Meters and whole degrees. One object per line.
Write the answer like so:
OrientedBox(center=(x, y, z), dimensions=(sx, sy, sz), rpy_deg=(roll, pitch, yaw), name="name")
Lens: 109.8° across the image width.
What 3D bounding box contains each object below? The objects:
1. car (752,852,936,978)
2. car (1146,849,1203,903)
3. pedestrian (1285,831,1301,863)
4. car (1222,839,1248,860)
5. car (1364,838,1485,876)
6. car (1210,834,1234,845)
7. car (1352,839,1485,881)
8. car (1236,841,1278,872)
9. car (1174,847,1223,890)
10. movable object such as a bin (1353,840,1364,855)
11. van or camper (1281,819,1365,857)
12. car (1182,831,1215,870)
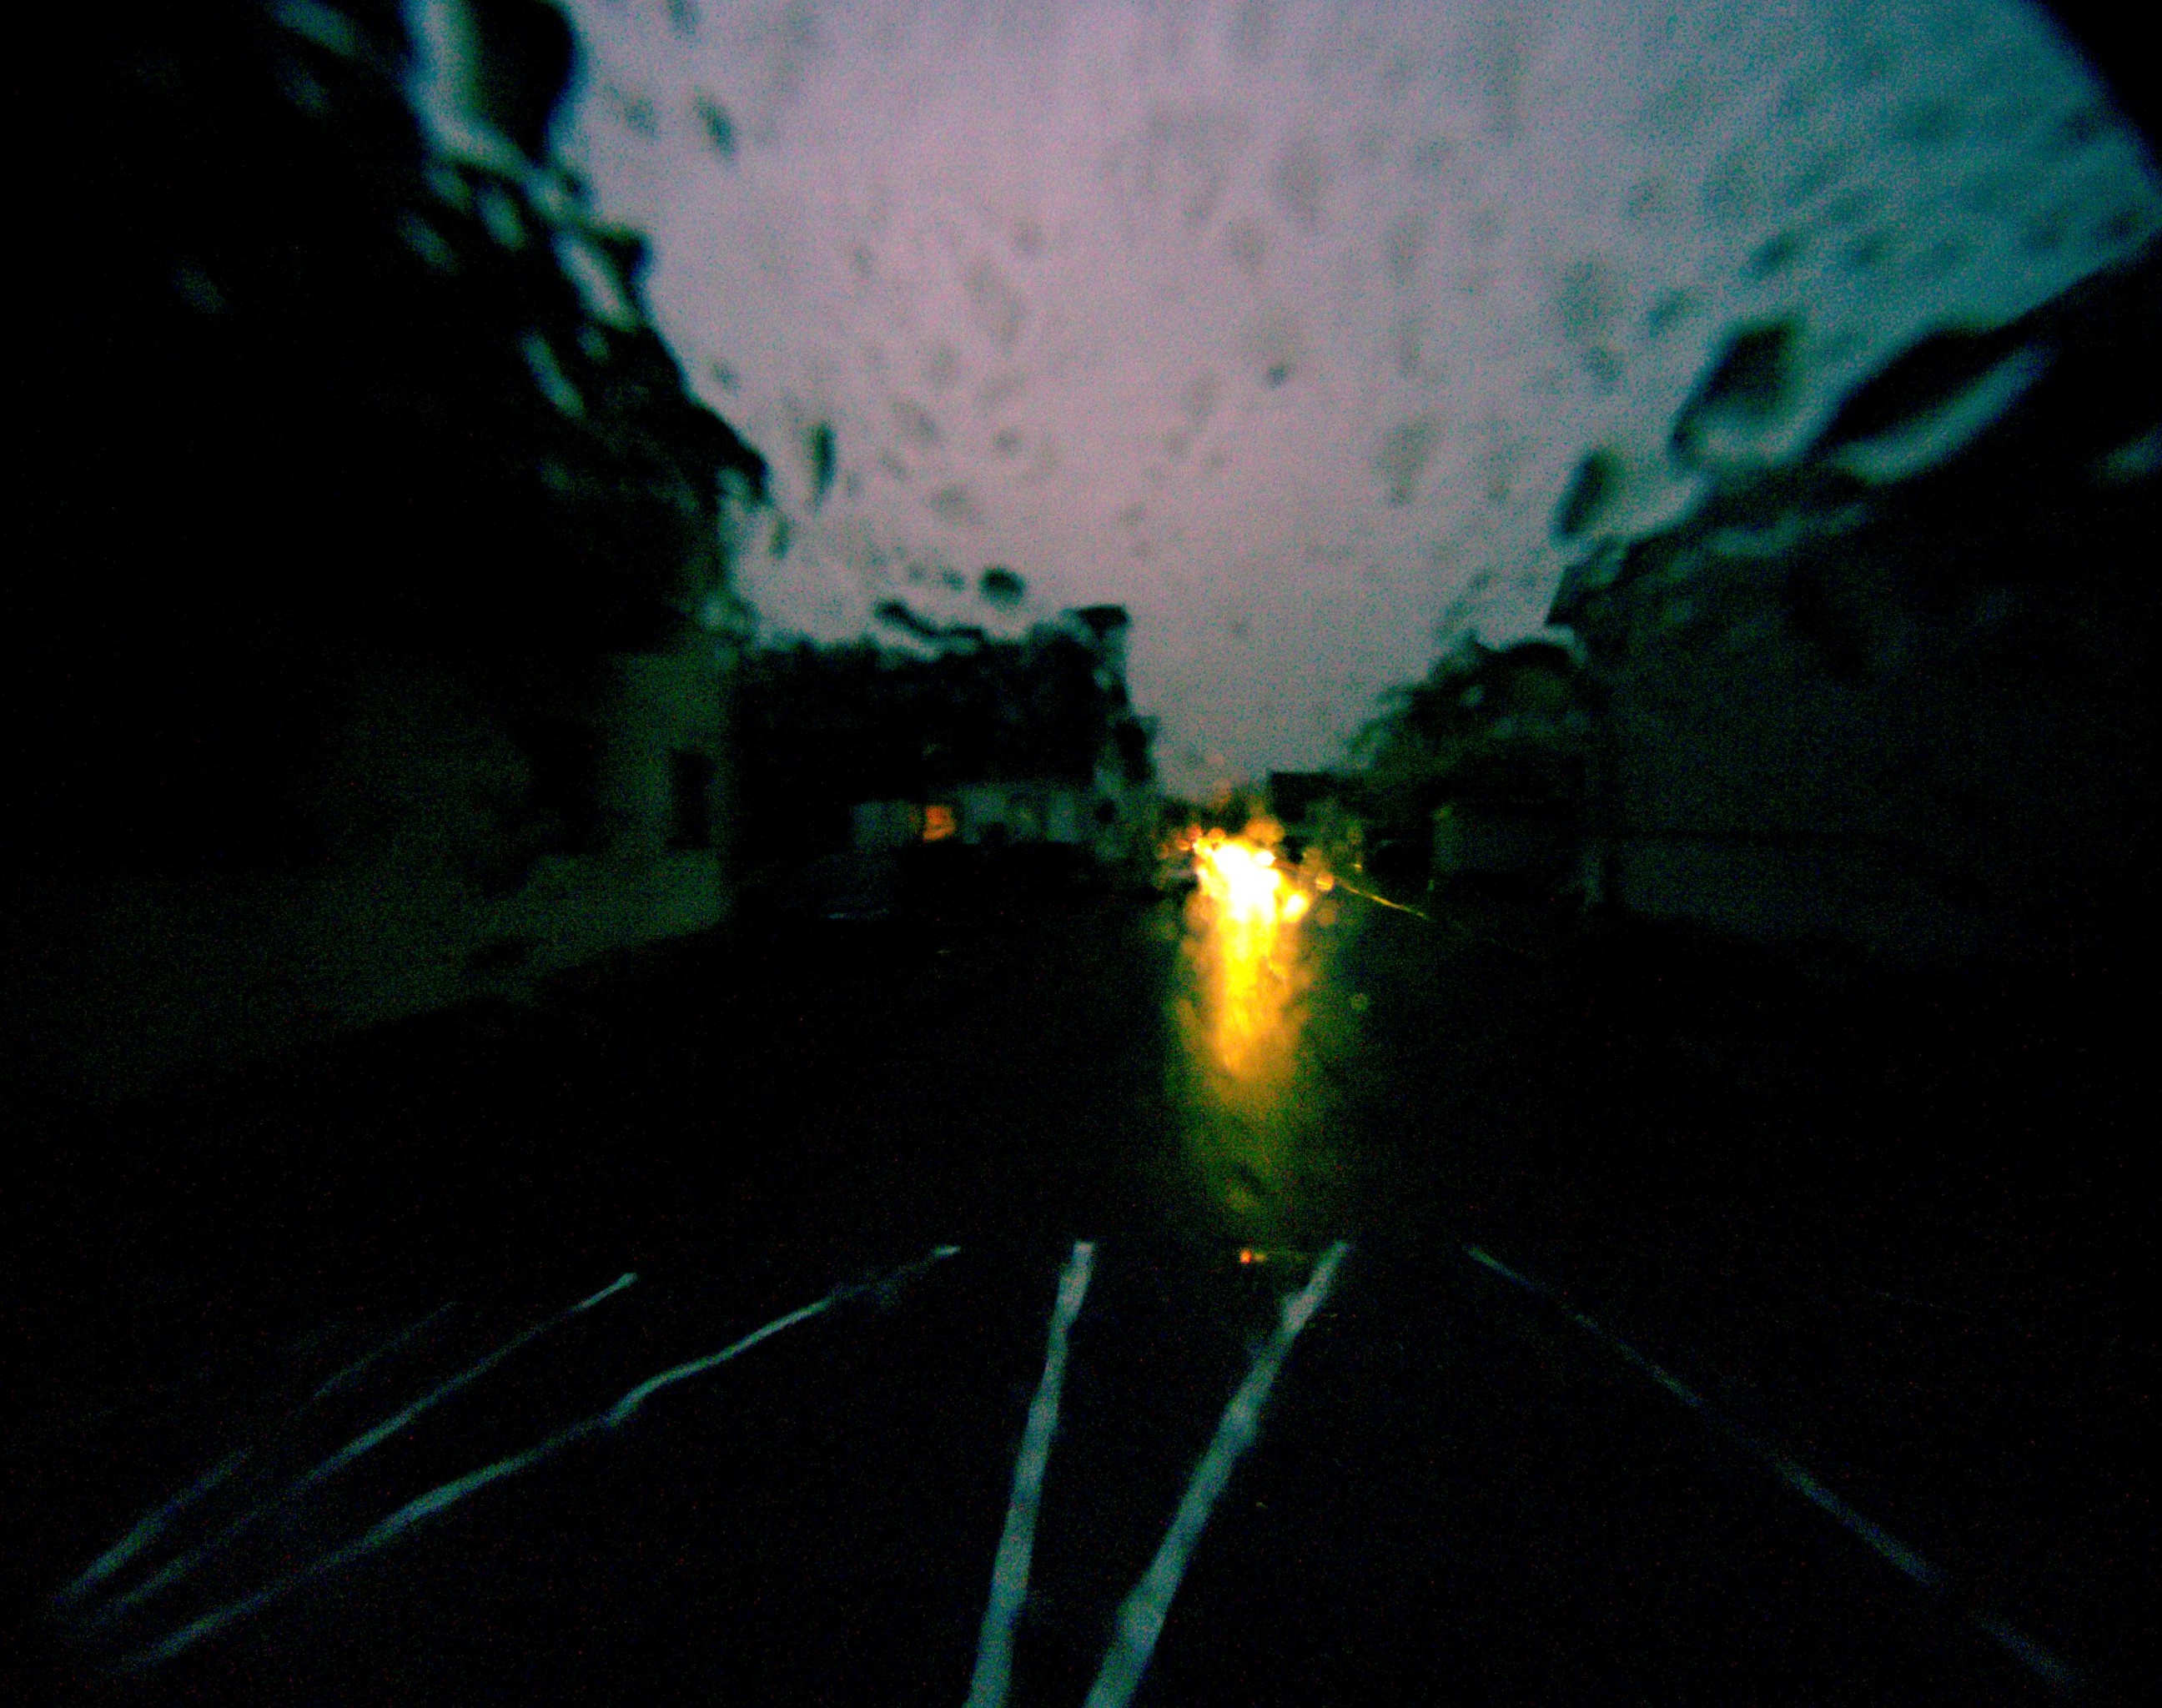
OrientedBox(center=(-3.474, 0.785, 11.990), dimensions=(1.812, 1.479, 4.275), rpy_deg=(0, 2, -4), name="car")
OrientedBox(center=(3.197, 0.662, 25.447), dimensions=(1.641, 1.485, 4.002), rpy_deg=(-4, 1, 9), name="car")
OrientedBox(center=(13.908, -0.469, 49.855), dimensions=(0.785, 2.002, 0.870), rpy_deg=(-4, 2, 11), name="pedestrian")
OrientedBox(center=(12.963, -0.391, 63.985), dimensions=(1.989, 1.549, 4.238), rpy_deg=(-3, 1, 10), name="car")
OrientedBox(center=(14.999, 0.132, 33.456), dimensions=(4.609, 1.462, 1.893), rpy_deg=(-2, 2, 16), name="car")
OrientedBox(center=(25.038, -2.639, 134.909), dimensions=(3.992, 1.652, 1.757), rpy_deg=(-3, 1, 17), name="car")
OrientedBox(center=(13.605, 0.236, 30.897), dimensions=(4.600, 1.462, 2.001), rpy_deg=(-2, 1, 12), name="car")
OrientedBox(center=(10.090, 0.082, 43.742), dimensions=(1.990, 1.549, 4.238), rpy_deg=(-3, 1, 9), name="car")
OrientedBox(center=(4.829, 0.525, 30.838), dimensions=(1.640, 1.463, 4.003), rpy_deg=(-4, 1, 12), name="car")
OrientedBox(center=(19.890, -0.456, 54.464), dimensions=(0.617, 1.015, 0.581), rpy_deg=(-3, 1, 15), name="movable object such as a bin")
OrientedBox(center=(19.069, -1.259, 60.109), dimensions=(6.068, 2.925, 2.325), rpy_deg=(-1, 2, 11), name="van or camper")
OrientedBox(center=(8.275, -0.297, 53.323), dimensions=(2.013, 2.440, 5.617), rpy_deg=(-4, 1, 9), name="car")
